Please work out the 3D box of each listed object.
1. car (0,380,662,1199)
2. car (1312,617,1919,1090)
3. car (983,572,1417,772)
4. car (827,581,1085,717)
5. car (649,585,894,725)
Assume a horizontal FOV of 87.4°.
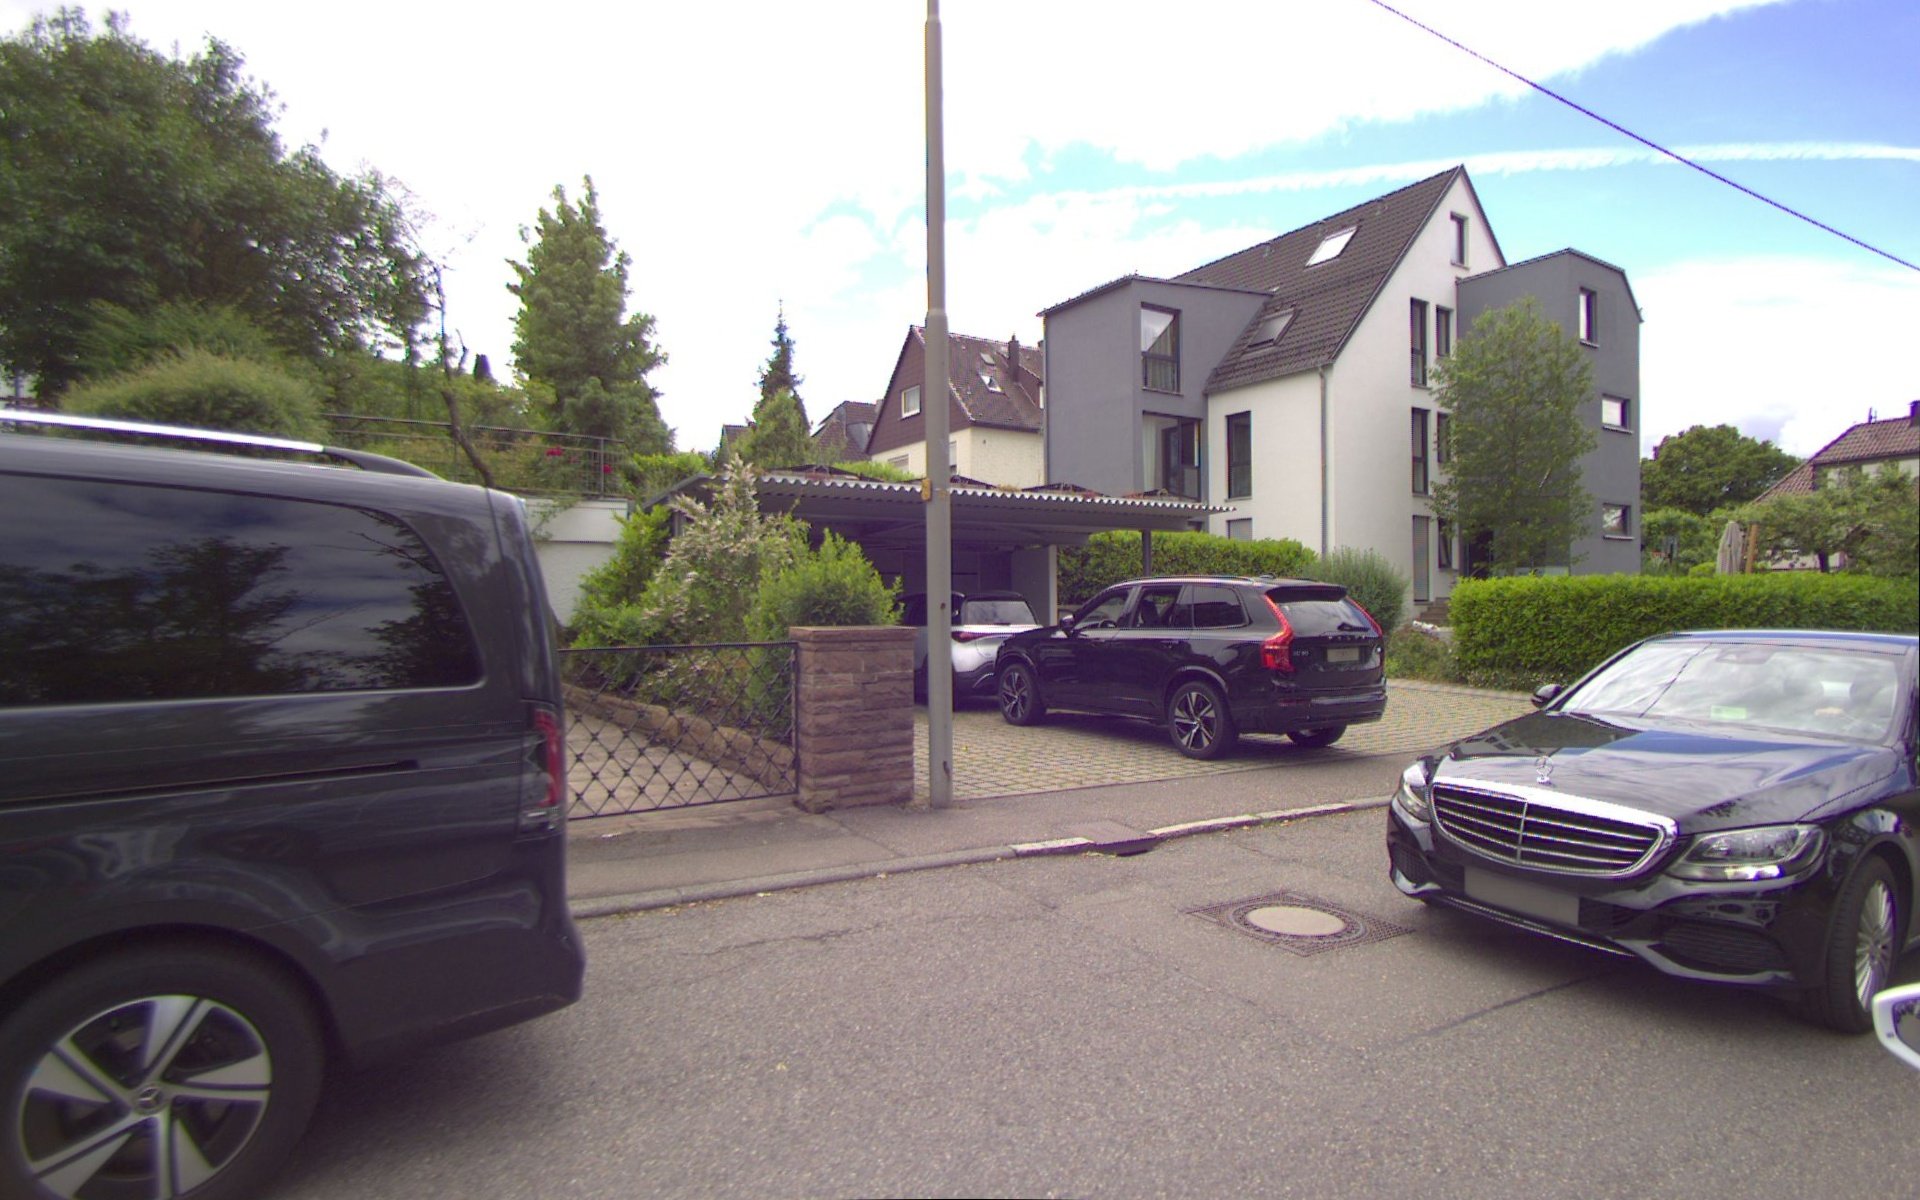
[{"bbox_3d":[-3.454,0.480,2.340,4.980,1.952,1.853,1,0,-31],"label":"car"},{"bbox_3d":[4.087,0.856,5.131,4.540,1.433,1.853,1,0,-31],"label":"car"},{"bbox_3d":[2.357,0.651,11.110,1.979,1.720,4.589,1,-1,-33],"label":"car"},{"bbox_3d":[-0.207,0.625,15.089,1.978,1.720,4.098,-1,0,-33],"label":"car"},{"bbox_3d":[-2.964,0.691,14.919,1.978,1.720,4.589,-1,0,-33],"label":"car"}]
